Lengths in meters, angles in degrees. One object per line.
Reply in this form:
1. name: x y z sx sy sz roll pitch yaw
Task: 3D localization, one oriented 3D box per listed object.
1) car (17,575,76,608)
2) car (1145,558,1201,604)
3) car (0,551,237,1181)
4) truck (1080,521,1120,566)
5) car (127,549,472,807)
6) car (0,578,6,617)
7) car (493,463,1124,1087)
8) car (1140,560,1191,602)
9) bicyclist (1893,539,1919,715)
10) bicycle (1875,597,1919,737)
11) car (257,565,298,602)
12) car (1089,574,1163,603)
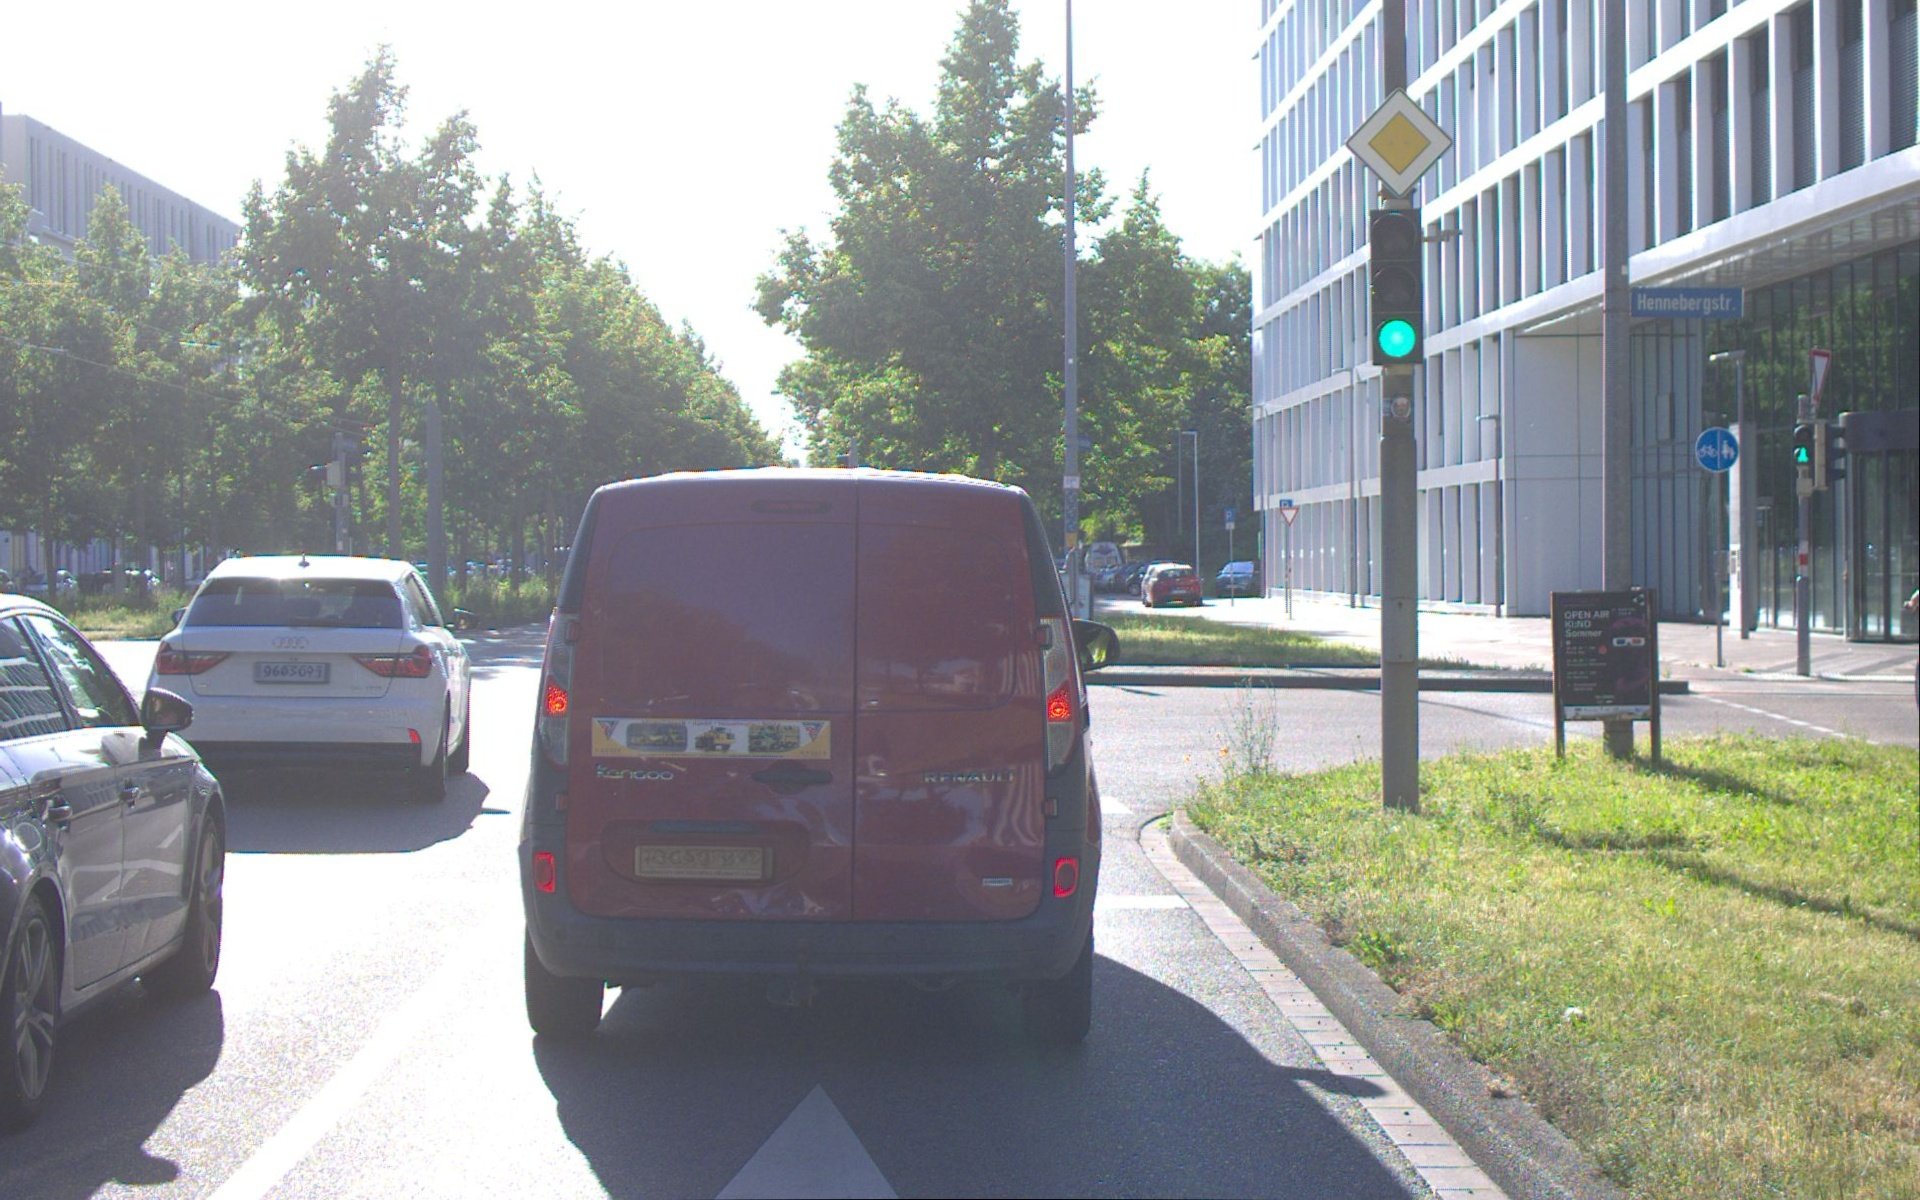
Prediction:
1. car: -38.130 -0.354 143.515 1.580 1.337 3.712 0 1 -2
2. car: 7.573 -0.681 122.304 1.758 1.606 3.903 0 1 0
3. car: -3.318 0.625 9.896 1.808 1.522 4.113 0 1 -3
4. truck: 7.837 -3.169 193.238 1.831 2.492 5.933 0 0 -2
5. car: -3.975 0.403 21.267 1.807 1.430 4.114 0 1 -7
6. car: -37.680 -0.082 130.802 1.776 1.523 3.806 0 1 -2
7. car: -0.446 0.474 11.962 1.808 1.788 4.113 0 1 0
8. car: 7.593 -0.730 127.508 1.819 1.527 3.437 0 1 2
9. bicyclist: 8.706 0.229 30.175 0.771 1.526 0.850 -1 1 -1
10. bicycle: 8.723 0.590 30.335 0.741 1.170 1.961 0 2 -1
11. car: -38.282 -0.934 193.001 1.728 2.007 4.001 0 1 -3
12. car: 7.766 -0.533 160.505 3.399 1.354 1.470 0 1 6
